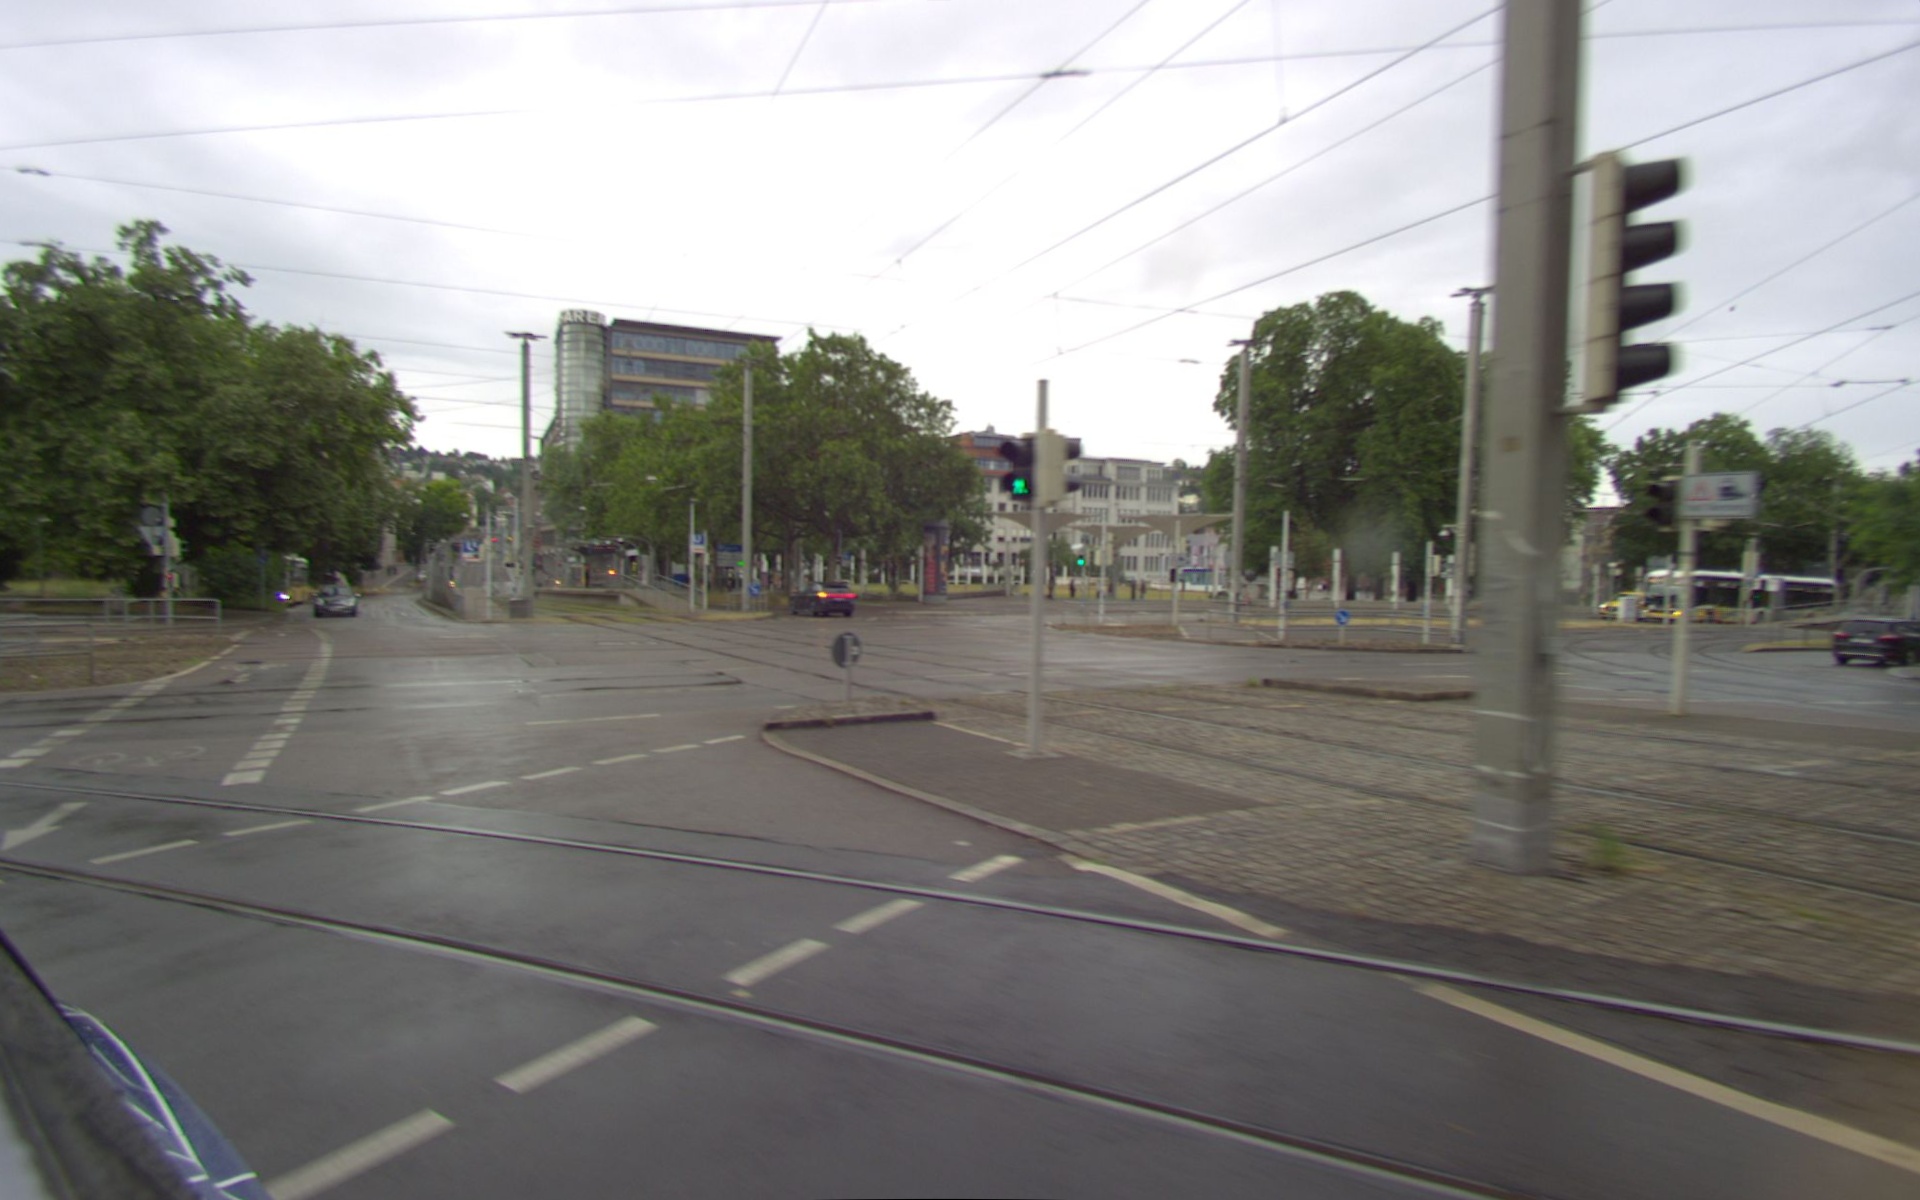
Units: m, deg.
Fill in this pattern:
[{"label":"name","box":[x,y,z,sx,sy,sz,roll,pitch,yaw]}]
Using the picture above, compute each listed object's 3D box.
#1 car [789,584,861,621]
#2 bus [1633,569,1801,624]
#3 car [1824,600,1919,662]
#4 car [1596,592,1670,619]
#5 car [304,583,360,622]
[{"label":"car","box":[-6.068,0.082,44.983,2.069,1.517,4.748,0,1,-22]},{"label":"bus","box":[48.384,-0.279,64.536,12.305,3.325,3.097,0,1,-25]},{"label":"car","box":[28.663,0.885,30.814,4.316,1.596,2.049,-1,3,-27]},{"label":"car","box":[43.456,0.321,65.304,4.458,1.658,2.007,0,1,-26]},{"label":"car","box":[-29.008,0.072,46.835,1.966,1.718,4.013,-1,1,-29]}]
